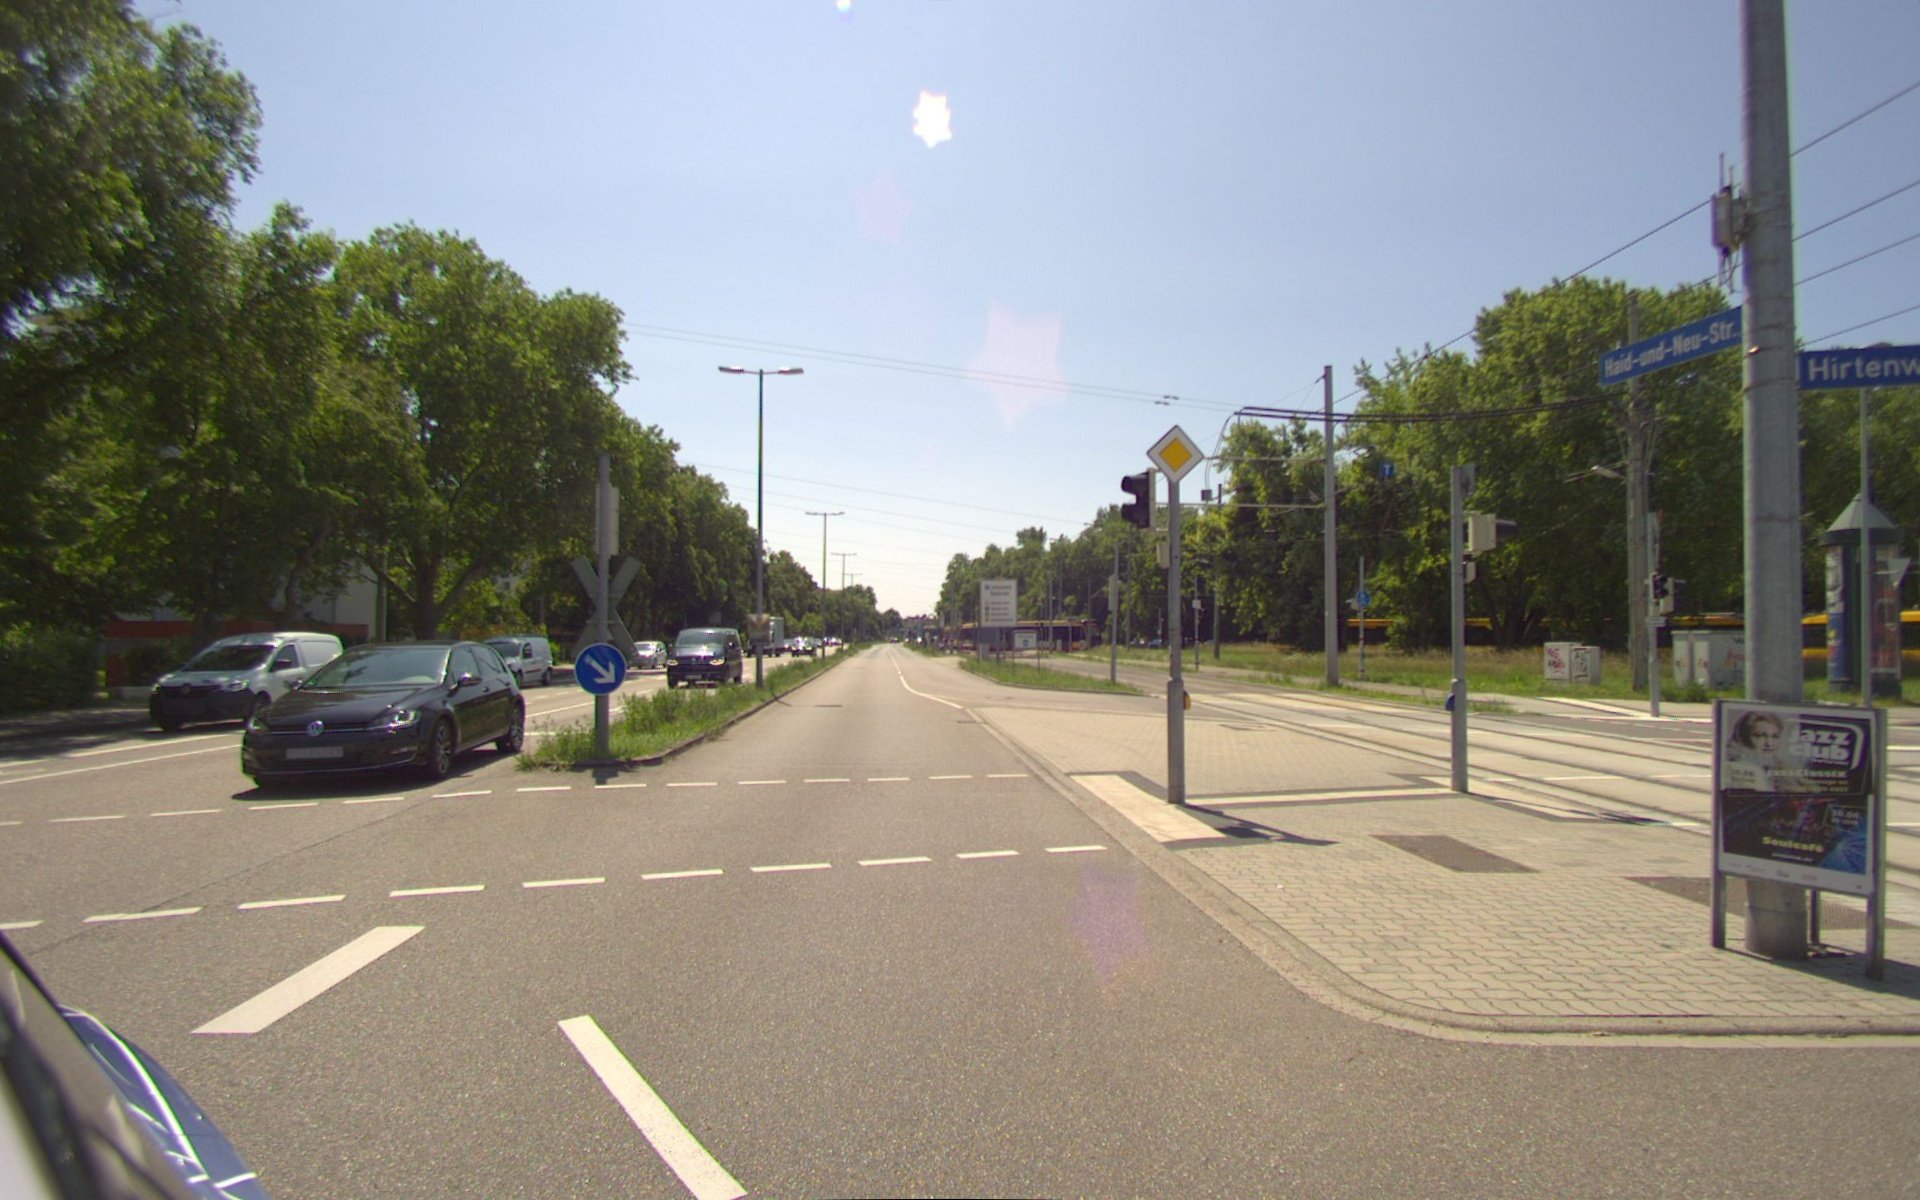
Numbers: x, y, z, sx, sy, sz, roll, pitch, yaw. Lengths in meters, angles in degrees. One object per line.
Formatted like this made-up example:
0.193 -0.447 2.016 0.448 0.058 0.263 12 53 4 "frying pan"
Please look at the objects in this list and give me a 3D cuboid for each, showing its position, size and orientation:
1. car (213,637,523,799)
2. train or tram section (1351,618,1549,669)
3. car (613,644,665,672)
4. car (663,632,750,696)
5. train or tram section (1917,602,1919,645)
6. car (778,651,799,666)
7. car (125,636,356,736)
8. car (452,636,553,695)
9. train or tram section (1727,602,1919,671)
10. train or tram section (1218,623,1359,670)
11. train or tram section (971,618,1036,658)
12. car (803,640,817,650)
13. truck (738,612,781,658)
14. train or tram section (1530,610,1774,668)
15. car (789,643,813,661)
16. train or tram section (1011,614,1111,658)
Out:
-6.239 1.140 11.230 1.682 1.415 4.062 -1 -2 -10 "car"
39.609 3.627 82.372 14.147 3.788 2.993 -3 -4 32 "train or tram section"
-17.661 3.170 55.841 1.821 1.436 4.219 -1 -2 -5 "car"
-8.349 2.069 33.738 1.914 1.946 4.849 0 -2 -3 "car"
51.906 1.727 49.669 3.006 3.788 11.528 -2 -3 22 "train or tram section"
-17.077 5.813 100.769 1.857 1.296 4.006 -2 -2 -7 "car"
-14.027 1.602 20.098 1.783 1.731 4.347 -1 -2 -5 "car"
-15.578 2.181 34.718 1.867 1.806 4.398 -2 -2 -6 "car"
53.826 2.272 61.467 2.981 3.788 14.056 -1 -3 -3 "train or tram section"
28.658 4.111 88.538 11.380 3.788 2.999 -3 -3 26 "train or tram section"
4.819 4.460 116.471 2.974 4.287 12.788 0 -3 -19 "train or tram section"
-26.293 7.888 177.522 1.972 1.745 4.000 -2 -2 -1 "car"
-16.844 2.952 85.392 2.549 3.560 7.719 -2 -2 -5 "truck"
49.606 2.965 73.404 2.978 3.788 14.218 1 -4 -39 "train or tram section"
-12.684 4.149 80.959 1.720 1.296 4.006 -2 -2 -7 "car"
10.261 3.834 105.459 2.975 4.287 12.784 1 -4 -33 "train or tram section"
